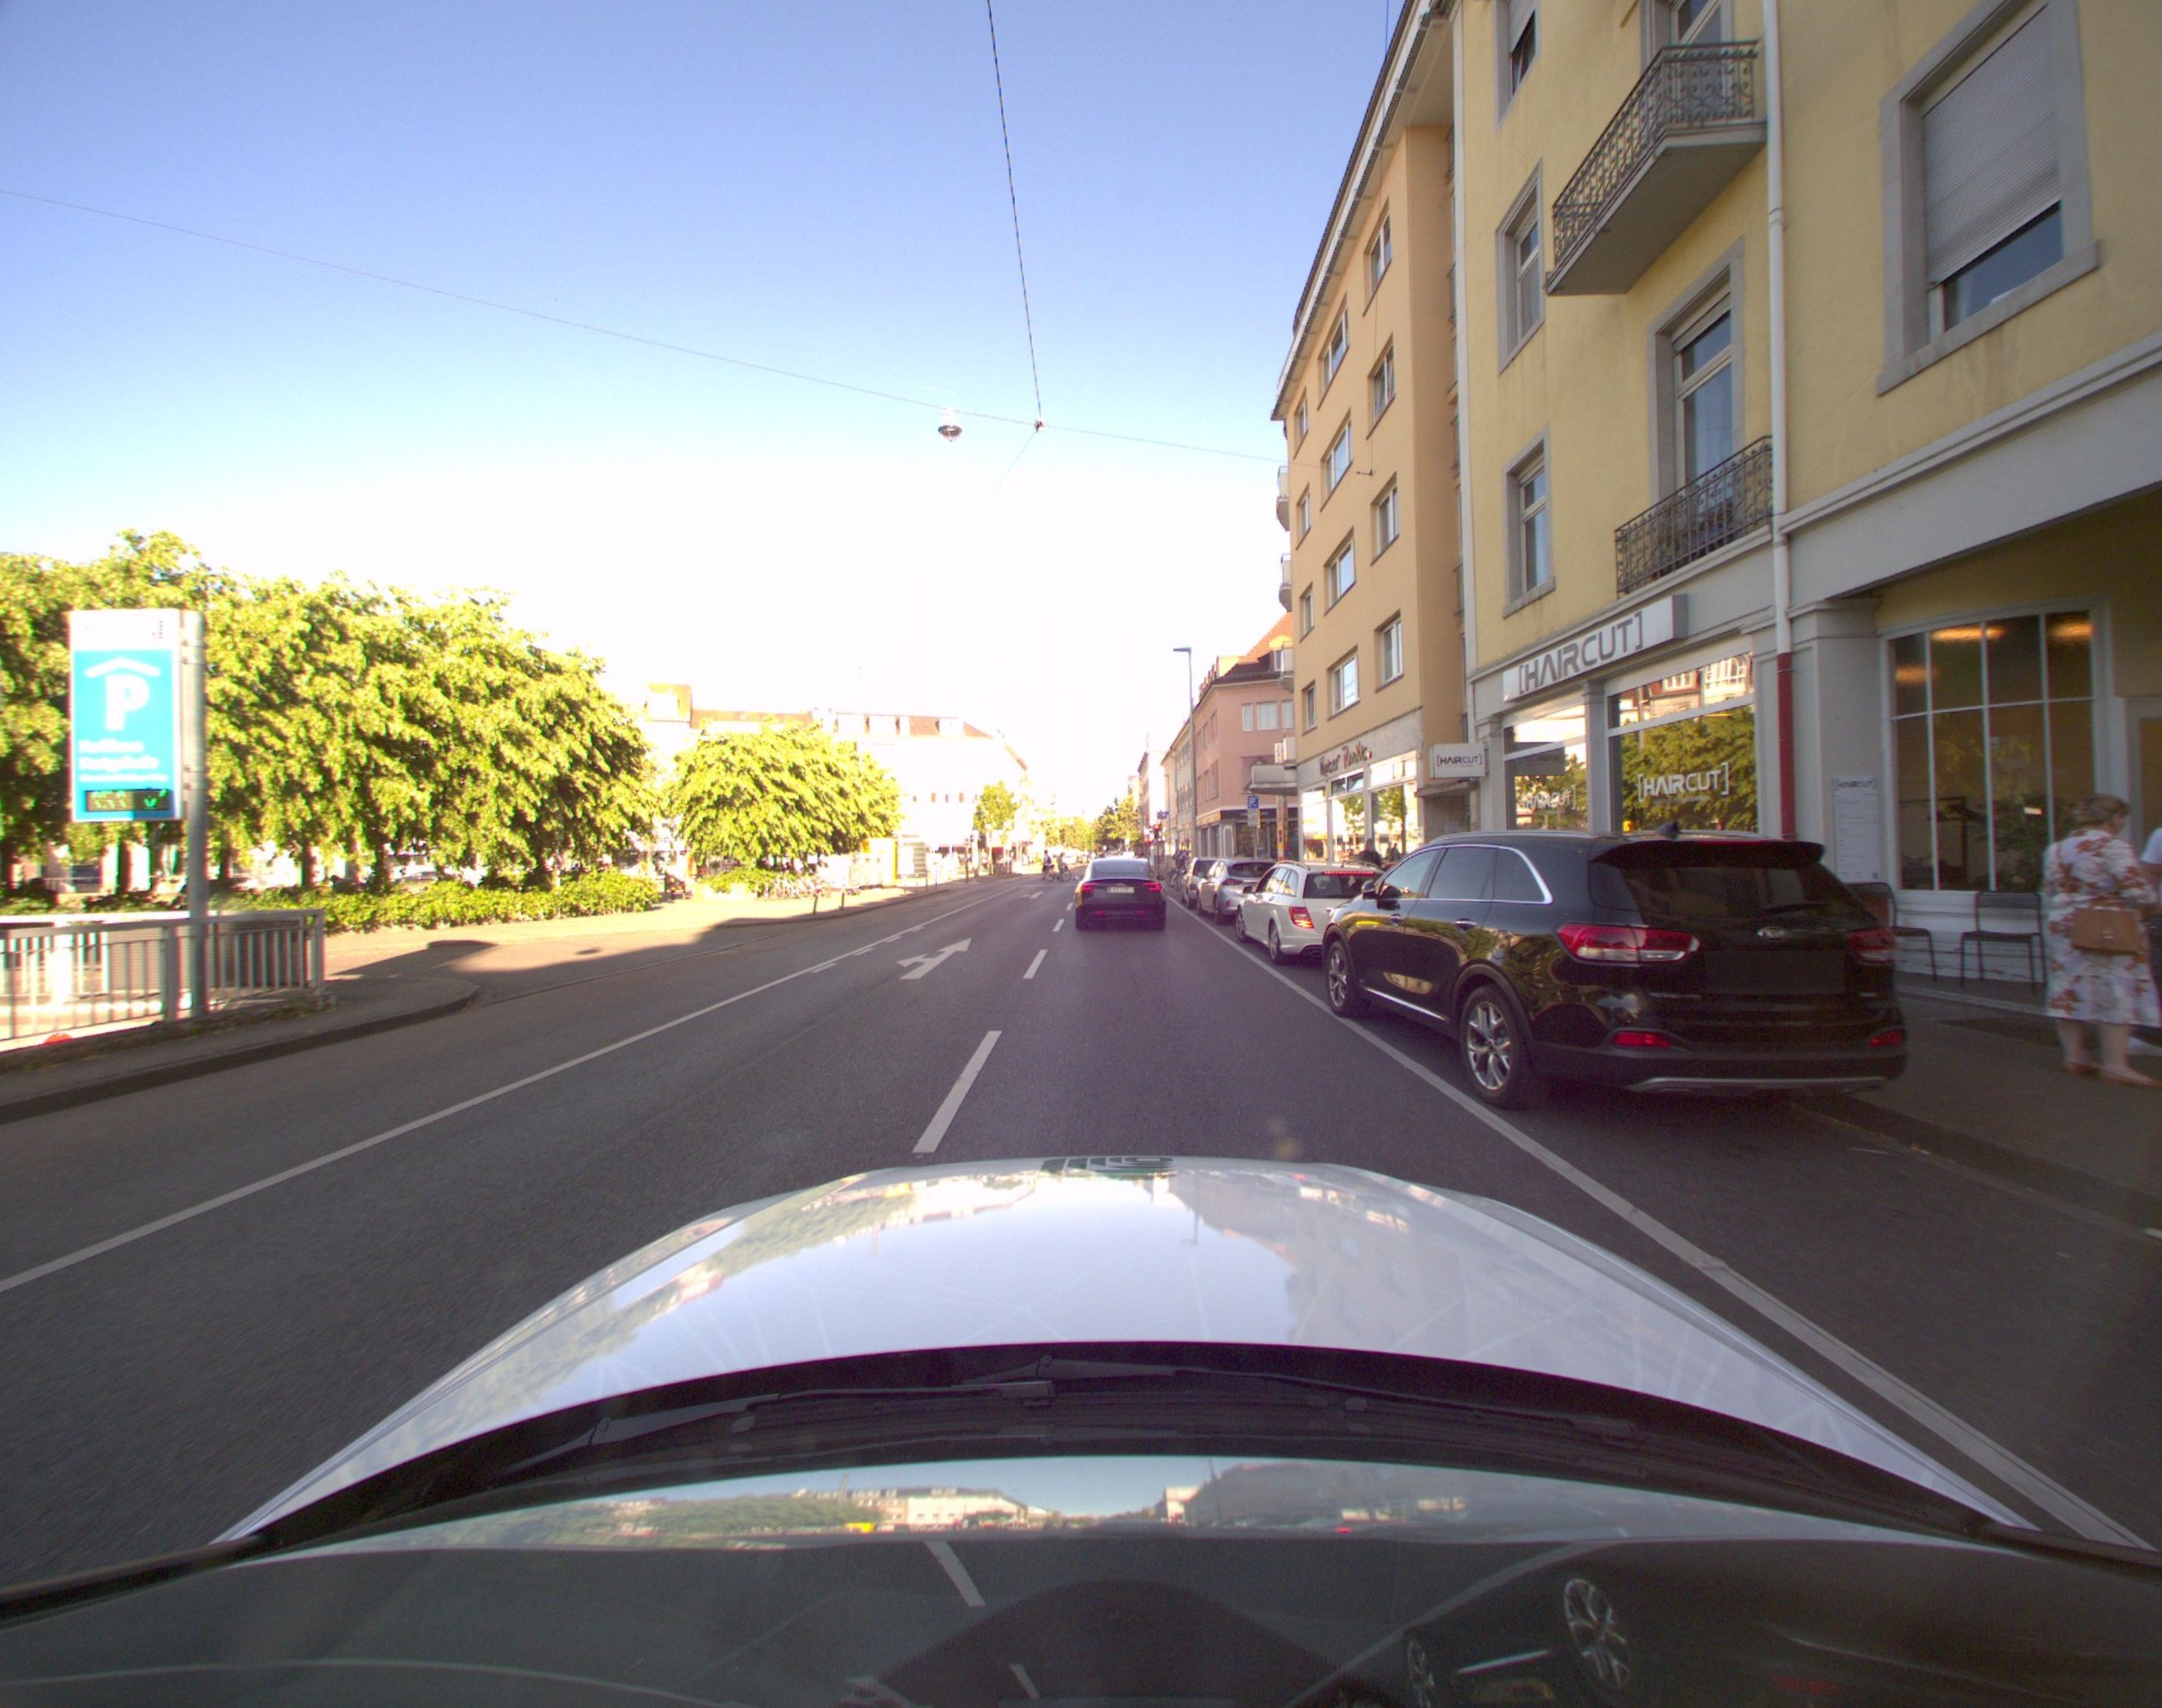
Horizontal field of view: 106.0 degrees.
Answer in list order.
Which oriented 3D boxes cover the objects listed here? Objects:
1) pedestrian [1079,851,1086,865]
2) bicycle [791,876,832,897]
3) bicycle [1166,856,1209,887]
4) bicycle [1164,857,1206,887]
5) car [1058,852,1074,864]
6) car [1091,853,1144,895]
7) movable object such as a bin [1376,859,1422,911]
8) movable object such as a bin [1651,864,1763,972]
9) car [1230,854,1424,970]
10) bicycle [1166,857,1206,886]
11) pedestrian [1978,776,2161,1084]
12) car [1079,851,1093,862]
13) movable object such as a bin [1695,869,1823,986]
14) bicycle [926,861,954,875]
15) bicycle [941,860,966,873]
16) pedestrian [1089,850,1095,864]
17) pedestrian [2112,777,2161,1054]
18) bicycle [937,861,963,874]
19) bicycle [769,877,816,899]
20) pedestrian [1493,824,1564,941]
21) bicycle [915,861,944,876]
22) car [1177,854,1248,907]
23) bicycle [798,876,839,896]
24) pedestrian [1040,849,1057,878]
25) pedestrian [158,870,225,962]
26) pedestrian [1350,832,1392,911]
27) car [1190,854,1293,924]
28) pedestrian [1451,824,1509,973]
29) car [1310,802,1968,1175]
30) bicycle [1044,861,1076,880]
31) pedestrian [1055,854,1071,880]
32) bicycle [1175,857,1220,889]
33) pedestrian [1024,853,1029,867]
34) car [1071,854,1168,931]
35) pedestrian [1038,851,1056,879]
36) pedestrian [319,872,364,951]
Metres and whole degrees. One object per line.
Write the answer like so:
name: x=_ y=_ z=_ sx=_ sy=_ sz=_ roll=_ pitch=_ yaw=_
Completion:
pedestrian: x=0.269 y=0.583 z=116.859 sx=0.754 sy=2.013 sz=0.792 roll=0 pitch=0 yaw=-24
bicycle: x=-10.514 y=1.262 z=31.802 sx=1.465 sy=0.769 sz=0.442 roll=0 pitch=-1 yaw=6
bicycle: x=4.269 y=0.688 z=32.542 sx=1.622 sy=1.160 sz=0.433 roll=-3 pitch=0 yaw=1
bicycle: x=4.279 y=0.744 z=33.552 sx=1.622 sy=1.160 sz=0.433 roll=-3 pitch=0 yaw=1
car: x=-2.229 y=0.566 z=119.493 sx=1.986 sy=1.541 sz=4.002 roll=-4 pitch=0 yaw=2
car: x=1.394 y=0.720 z=30.547 sx=1.842 sy=1.455 sz=3.789 roll=-1 pitch=0 yaw=3
movable object such as a bin: x=6.988 y=0.677 z=17.914 sx=0.700 sy=1.067 sz=0.620 roll=-4 pitch=0 yaw=2
movable object such as a bin: x=6.573 y=0.655 z=8.582 sx=0.656 sy=1.041 sz=0.620 roll=-4 pitch=0 yaw=4
car: x=3.532 y=0.741 z=12.567 sx=1.732 sy=1.447 sz=4.465 roll=-1 pitch=0 yaw=1
bicycle: x=4.458 y=0.730 z=34.706 sx=1.621 sy=1.160 sz=0.433 roll=-3 pitch=0 yaw=3
pedestrian: x=5.782 y=0.412 z=4.725 sx=0.448 sy=1.660 sz=0.593 roll=-2 pitch=0 yaw=3
car: x=0.788 y=0.384 z=129.239 sx=2.044 sy=1.727 sz=4.652 roll=-1 pitch=0 yaw=0
movable object such as a bin: x=6.482 y=0.688 z=7.823 sx=0.664 sy=1.025 sz=0.620 roll=-4 pitch=0 yaw=4
bicycle: x=-11.340 y=1.110 z=65.694 sx=2.074 sy=1.104 sz=0.806 roll=-1 pitch=0 yaw=1
bicycle: x=-11.372 y=1.094 z=72.671 sx=2.074 sy=1.104 sz=0.806 roll=-1 pitch=0 yaw=1
pedestrian: x=1.594 y=0.408 z=115.289 sx=0.620 sy=2.013 sz=0.562 roll=-1 pitch=0 yaw=26
pedestrian: x=6.658 y=0.363 z=4.870 sx=0.339 sy=1.660 sz=0.519 roll=-2 pitch=0 yaw=-28
bicycle: x=-11.348 y=1.132 z=70.474 sx=2.074 sy=1.104 sz=0.806 roll=-1 pitch=0 yaw=1
bicycle: x=-10.769 y=1.267 z=30.426 sx=1.645 sy=0.769 sz=0.476 roll=0 pitch=0 yaw=11
pedestrian: x=6.518 y=0.404 z=11.884 sx=0.694 sy=1.633 sz=0.532 roll=-2 pitch=0 yaw=0
bicycle: x=-11.778 y=1.125 z=63.185 sx=2.074 sy=1.104 sz=0.806 roll=-1 pitch=0 yaw=1
car: x=3.712 y=0.701 z=23.483 sx=1.615 sy=1.394 sz=3.889 roll=-1 pitch=0 yaw=3
bicycle: x=-10.438 y=1.256 z=32.360 sx=1.466 sy=0.769 sz=0.475 roll=0 pitch=0 yaw=4
pedestrian: x=-1.965 y=0.539 z=48.960 sx=0.896 sy=1.725 sz=0.745 roll=0 pitch=0 yaw=5
pedestrian: x=-18.666 y=1.281 z=17.106 sx=0.578 sy=1.856 sz=0.733 roll=0 pitch=-1 yaw=4
pedestrian: x=6.258 y=0.370 z=17.596 sx=0.659 sy=1.633 sz=0.629 roll=-3 pitch=-1 yaw=6
car: x=3.611 y=0.726 z=18.967 sx=1.664 sy=1.427 sz=4.078 roll=-1 pitch=0 yaw=1
pedestrian: x=4.880 y=0.527 z=9.964 sx=0.436 sy=1.762 sz=0.477 roll=0 pitch=-1 yaw=-33
car: x=3.298 y=0.624 z=6.144 sx=1.750 sy=1.736 sz=4.569 roll=-1 pitch=0 yaw=-2
bicycle: x=-1.153 y=0.911 z=44.697 sx=1.603 sy=1.045 sz=0.593 roll=0 pitch=-1 yaw=16
pedestrian: x=-0.995 y=0.705 z=44.967 sx=0.738 sy=1.440 sz=0.584 roll=0 pitch=-1 yaw=15
bicycle: x=4.469 y=0.733 z=31.339 sx=1.622 sy=1.160 sz=0.433 roll=-3 pitch=0 yaw=1
pedestrian: x=-8.253 y=0.931 z=123.439 sx=0.623 sy=2.013 sz=0.707 roll=-1 pitch=0 yaw=2
car: x=0.839 y=0.738 z=17.429 sx=1.842 sy=1.455 sz=3.789 roll=-1 pitch=0 yaw=3
pedestrian: x=-1.995 y=0.643 z=47.971 sx=0.981 sy=1.636 sz=0.738 roll=0 pitch=0 yaw=5
pedestrian: x=-17.939 y=1.374 z=19.771 sx=0.582 sy=1.856 sz=0.598 roll=0 pitch=-1 yaw=-17
